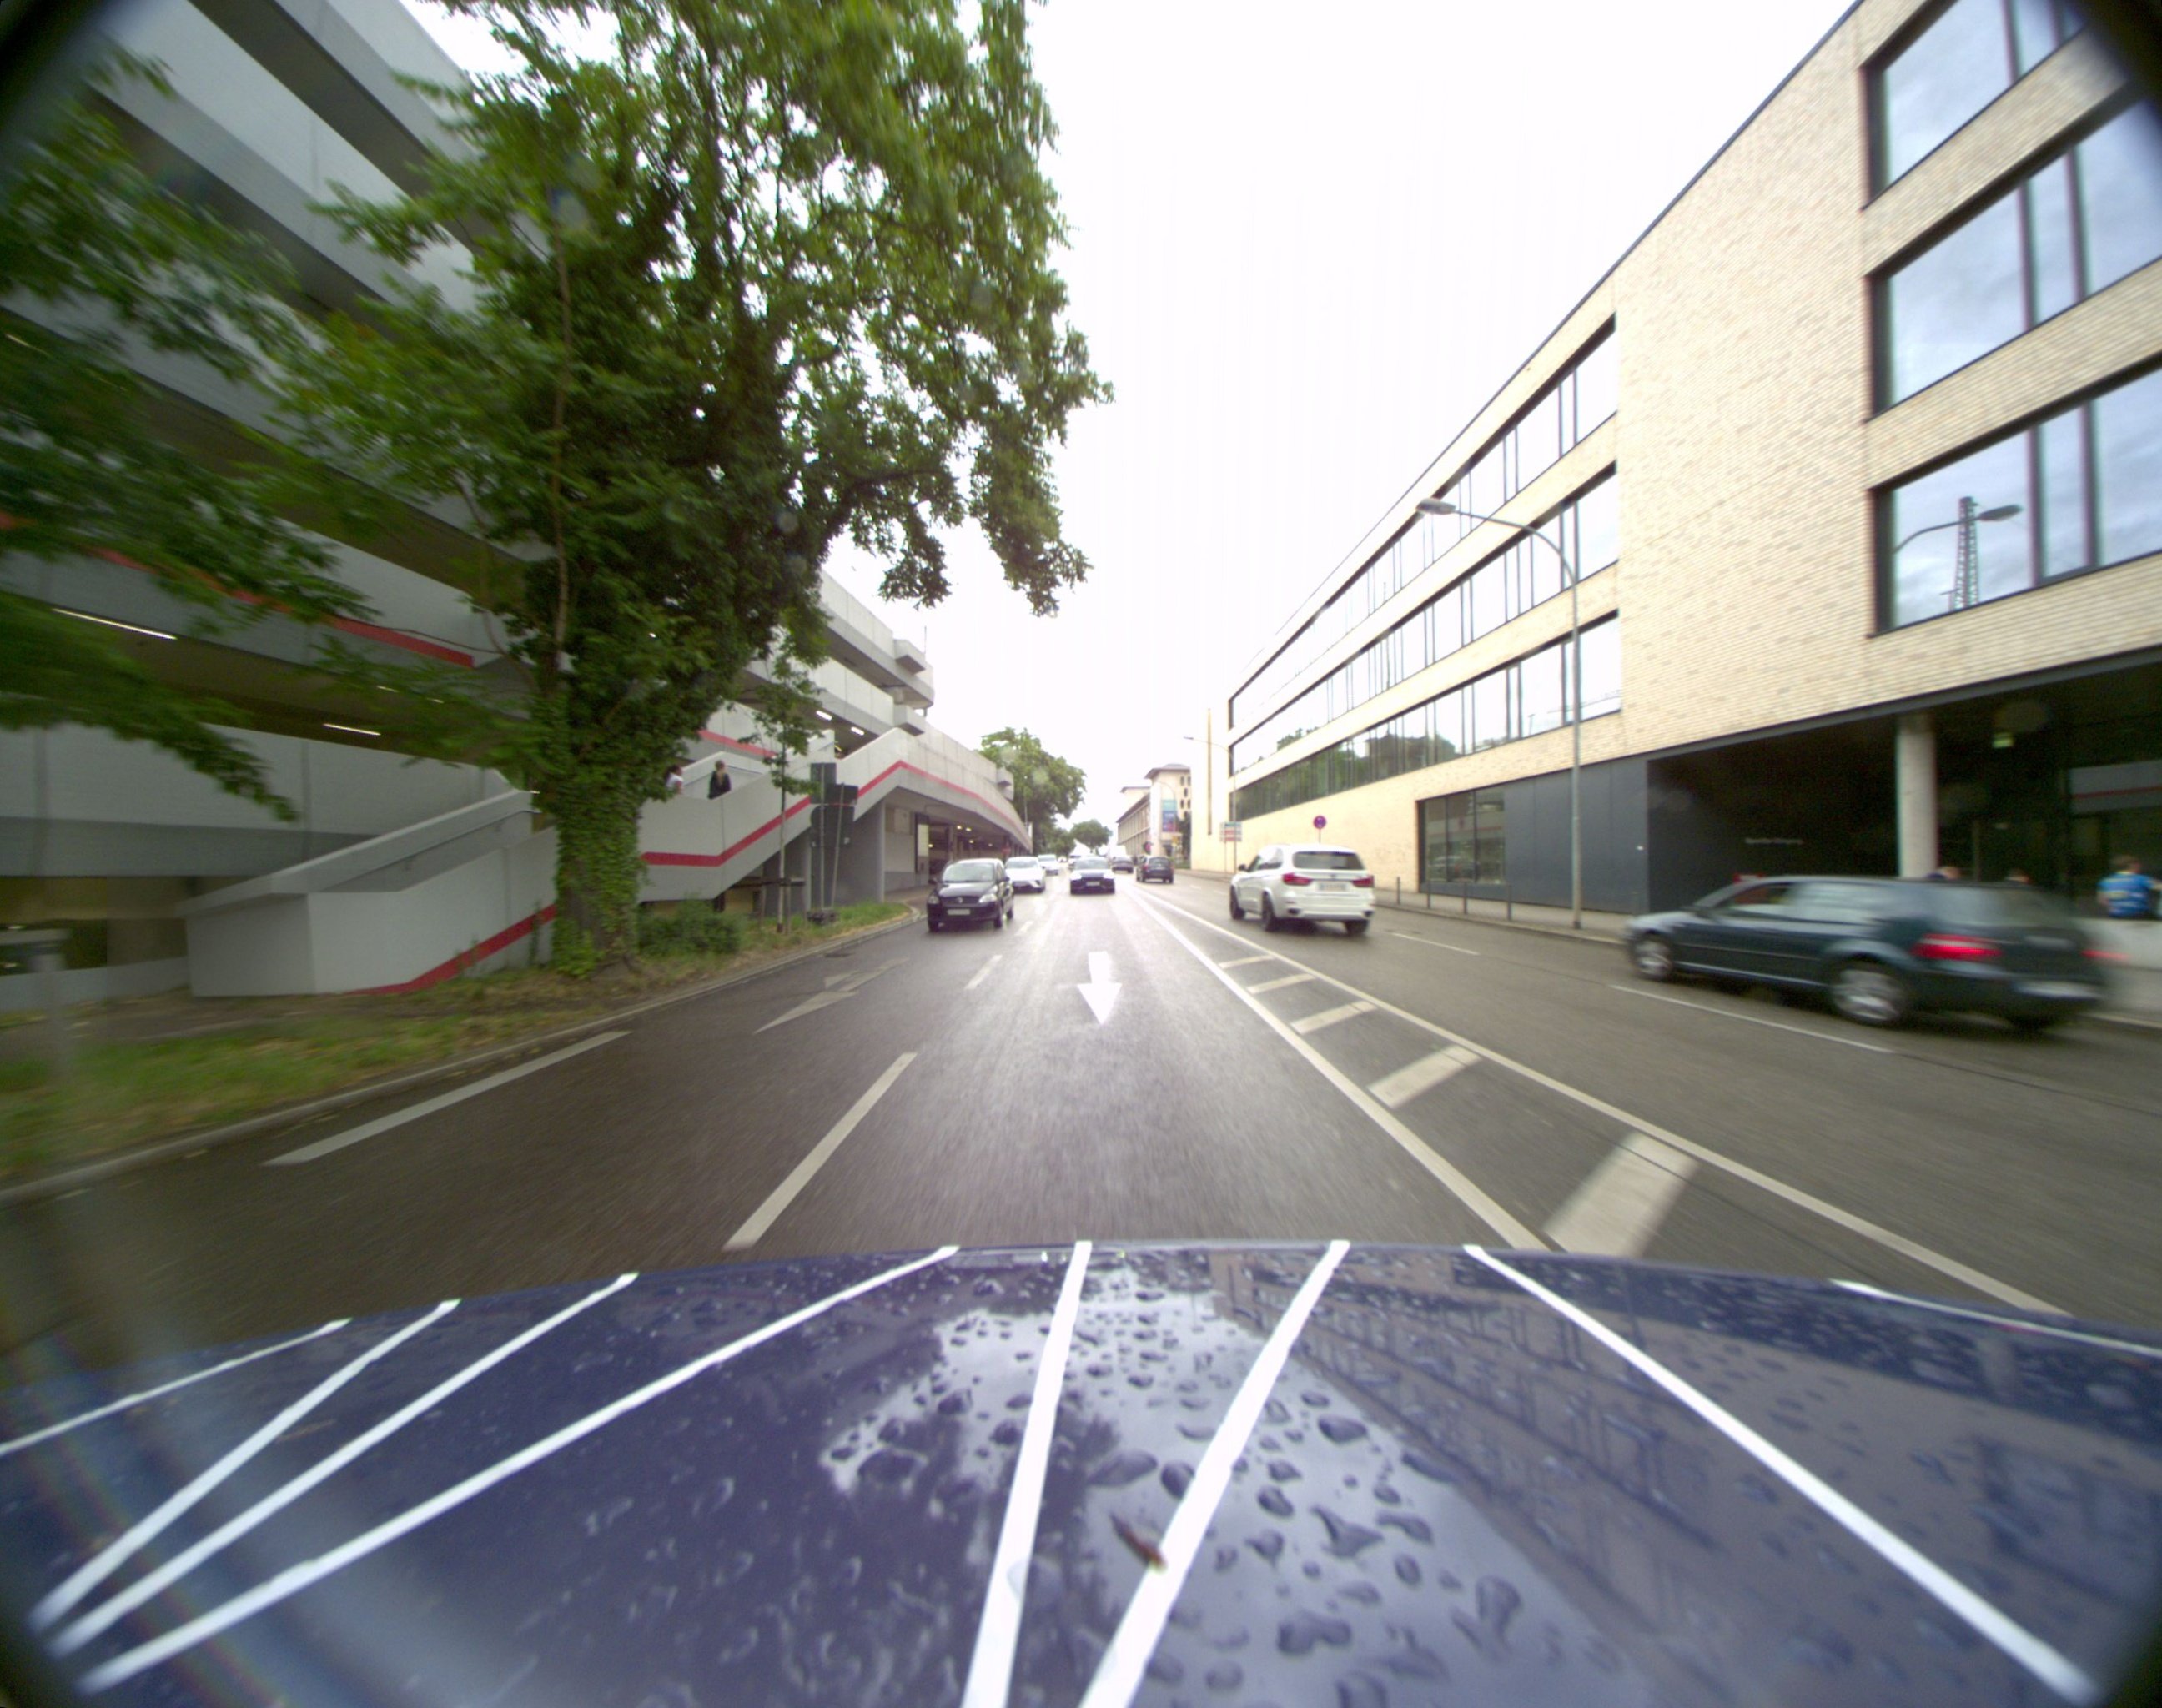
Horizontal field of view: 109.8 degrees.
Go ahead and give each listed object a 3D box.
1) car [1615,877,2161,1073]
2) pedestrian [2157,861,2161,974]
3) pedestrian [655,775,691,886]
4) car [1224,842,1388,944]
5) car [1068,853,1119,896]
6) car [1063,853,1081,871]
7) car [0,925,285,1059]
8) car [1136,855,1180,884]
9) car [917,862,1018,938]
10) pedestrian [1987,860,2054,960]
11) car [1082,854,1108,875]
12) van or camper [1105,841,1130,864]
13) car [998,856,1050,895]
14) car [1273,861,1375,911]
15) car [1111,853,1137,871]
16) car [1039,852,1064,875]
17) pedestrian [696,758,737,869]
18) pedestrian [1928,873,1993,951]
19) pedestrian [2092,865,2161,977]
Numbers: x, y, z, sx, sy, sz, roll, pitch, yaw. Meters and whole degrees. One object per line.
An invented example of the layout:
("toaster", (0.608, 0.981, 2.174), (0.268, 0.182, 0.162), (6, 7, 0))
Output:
("car", (8.026, 1.041, 8.115), (1.750, 1.404, 3.970), (2, 0, -1))
("pedestrian", (14.247, 0.818, 9.646), (0.442, 1.467, 0.528), (-2, 1, -5))
("pedestrian", (-8.029, -0.458, 14.963), (0.422, 2.142, 0.434), (-1, 1, 5))
("car", (4.506, 0.693, 16.049), (1.896, 1.801, 4.573), (2, 0, -2))
("car", (0.479, 0.787, 30.224), (1.852, 1.516, 3.990), (-2, 0, 0))
("car", (-1.002, 0.958, 90.273), (1.998, 2.002, 3.999), (-2, 1, 0))
("car", (-13.387, 1.768, 10.170), (3.740, 1.530, 1.812), (-1, -3, 6))
("car", (4.260, 0.812, 42.713), (1.816, 1.454, 4.287), (2, 1, -2))
("car", (-2.551, 0.994, 17.927), (1.683, 1.516, 3.990), (-2, 0, 0))
("pedestrian", (14.226, 0.837, 11.515), (0.450, 1.467, 0.463), (-2, 1, -5))
("car", (1.156, 0.807, 61.218), (1.998, 1.477, 4.000), (-2, 1, 2))
("van or camper", (4.275, -0.205, 90.252), (2.108, 2.567, 5.904), (1, 0, -6))
("car", (-2.401, 0.872, 33.023), (1.915, 1.443, 4.036), (-2, 1, 0))
("car", (7.751, 0.962, 24.677), (1.834, 1.380, 4.229), (2, 0, -1))
("car", (3.662, 0.671, 65.486), (1.888, 1.489, 4.560), (1, 0, -2))
("car", (-2.308, 0.709, 60.381), (1.727, 1.628, 3.999), (-2, 1, 0))
("pedestrian", (-7.190, -0.784, 15.013), (0.515, 2.142, 0.494), (-1, 1, 5))
("pedestrian", (14.304, 0.931, 12.362), (0.550, 1.208, 0.422), (-2, 1, 3))
("pedestrian", (14.291, 0.899, 10.348), (0.450, 1.467, 0.463), (-2, 1, -5))
